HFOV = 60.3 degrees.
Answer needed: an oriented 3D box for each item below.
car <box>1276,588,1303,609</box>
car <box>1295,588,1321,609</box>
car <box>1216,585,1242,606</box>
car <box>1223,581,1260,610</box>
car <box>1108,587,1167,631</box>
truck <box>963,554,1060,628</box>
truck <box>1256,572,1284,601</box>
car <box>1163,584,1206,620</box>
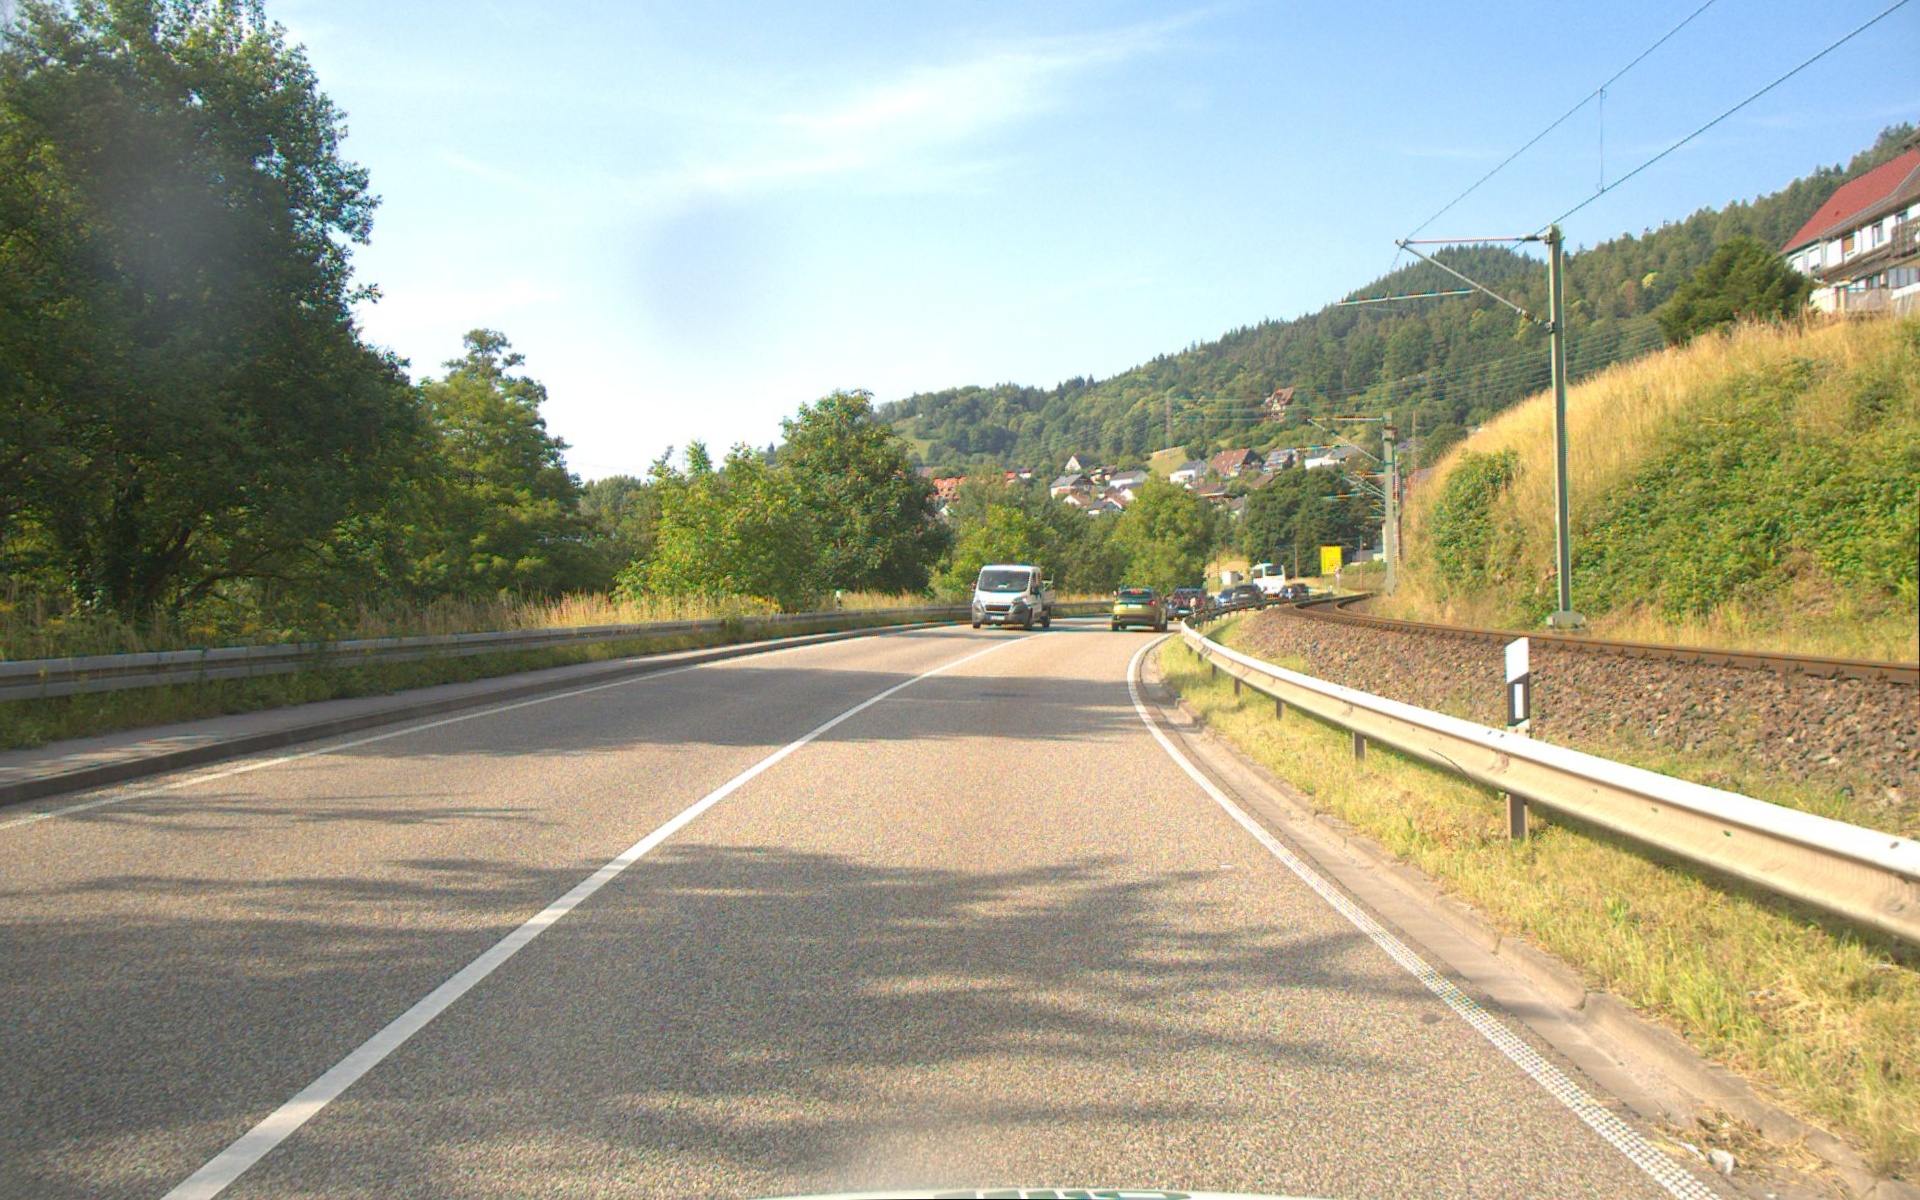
[{"bbox_3d":[25.024,-0.144,125.506,1.809,1.553,3.665,0,0,13],"label":"car"},{"bbox_3d":[32.244,-0.133,153.124,2.020,1.843,4.002,0,0,17],"label":"car"},{"bbox_3d":[20.859,-0.384,128.100,1.714,1.594,4.003,0,0,13],"label":"car"},{"bbox_3d":[17.306,-0.272,101.692,1.840,1.716,4.003,0,0,16],"label":"car"},{"bbox_3d":[6.356,0.308,59.054,1.678,1.480,4.003,2,0,11],"label":"car"},{"bbox_3d":[1.910,-0.284,58.668,2.111,2.407,6.751,2,0,13],"label":"truck"},{"bbox_3d":[35.088,-1.536,187.331,2.654,3.138,6.113,1,0,7],"label":"truck"},{"bbox_3d":[10.144,0.060,74.632,1.631,1.586,4.004,0,0,12],"label":"car"}]
